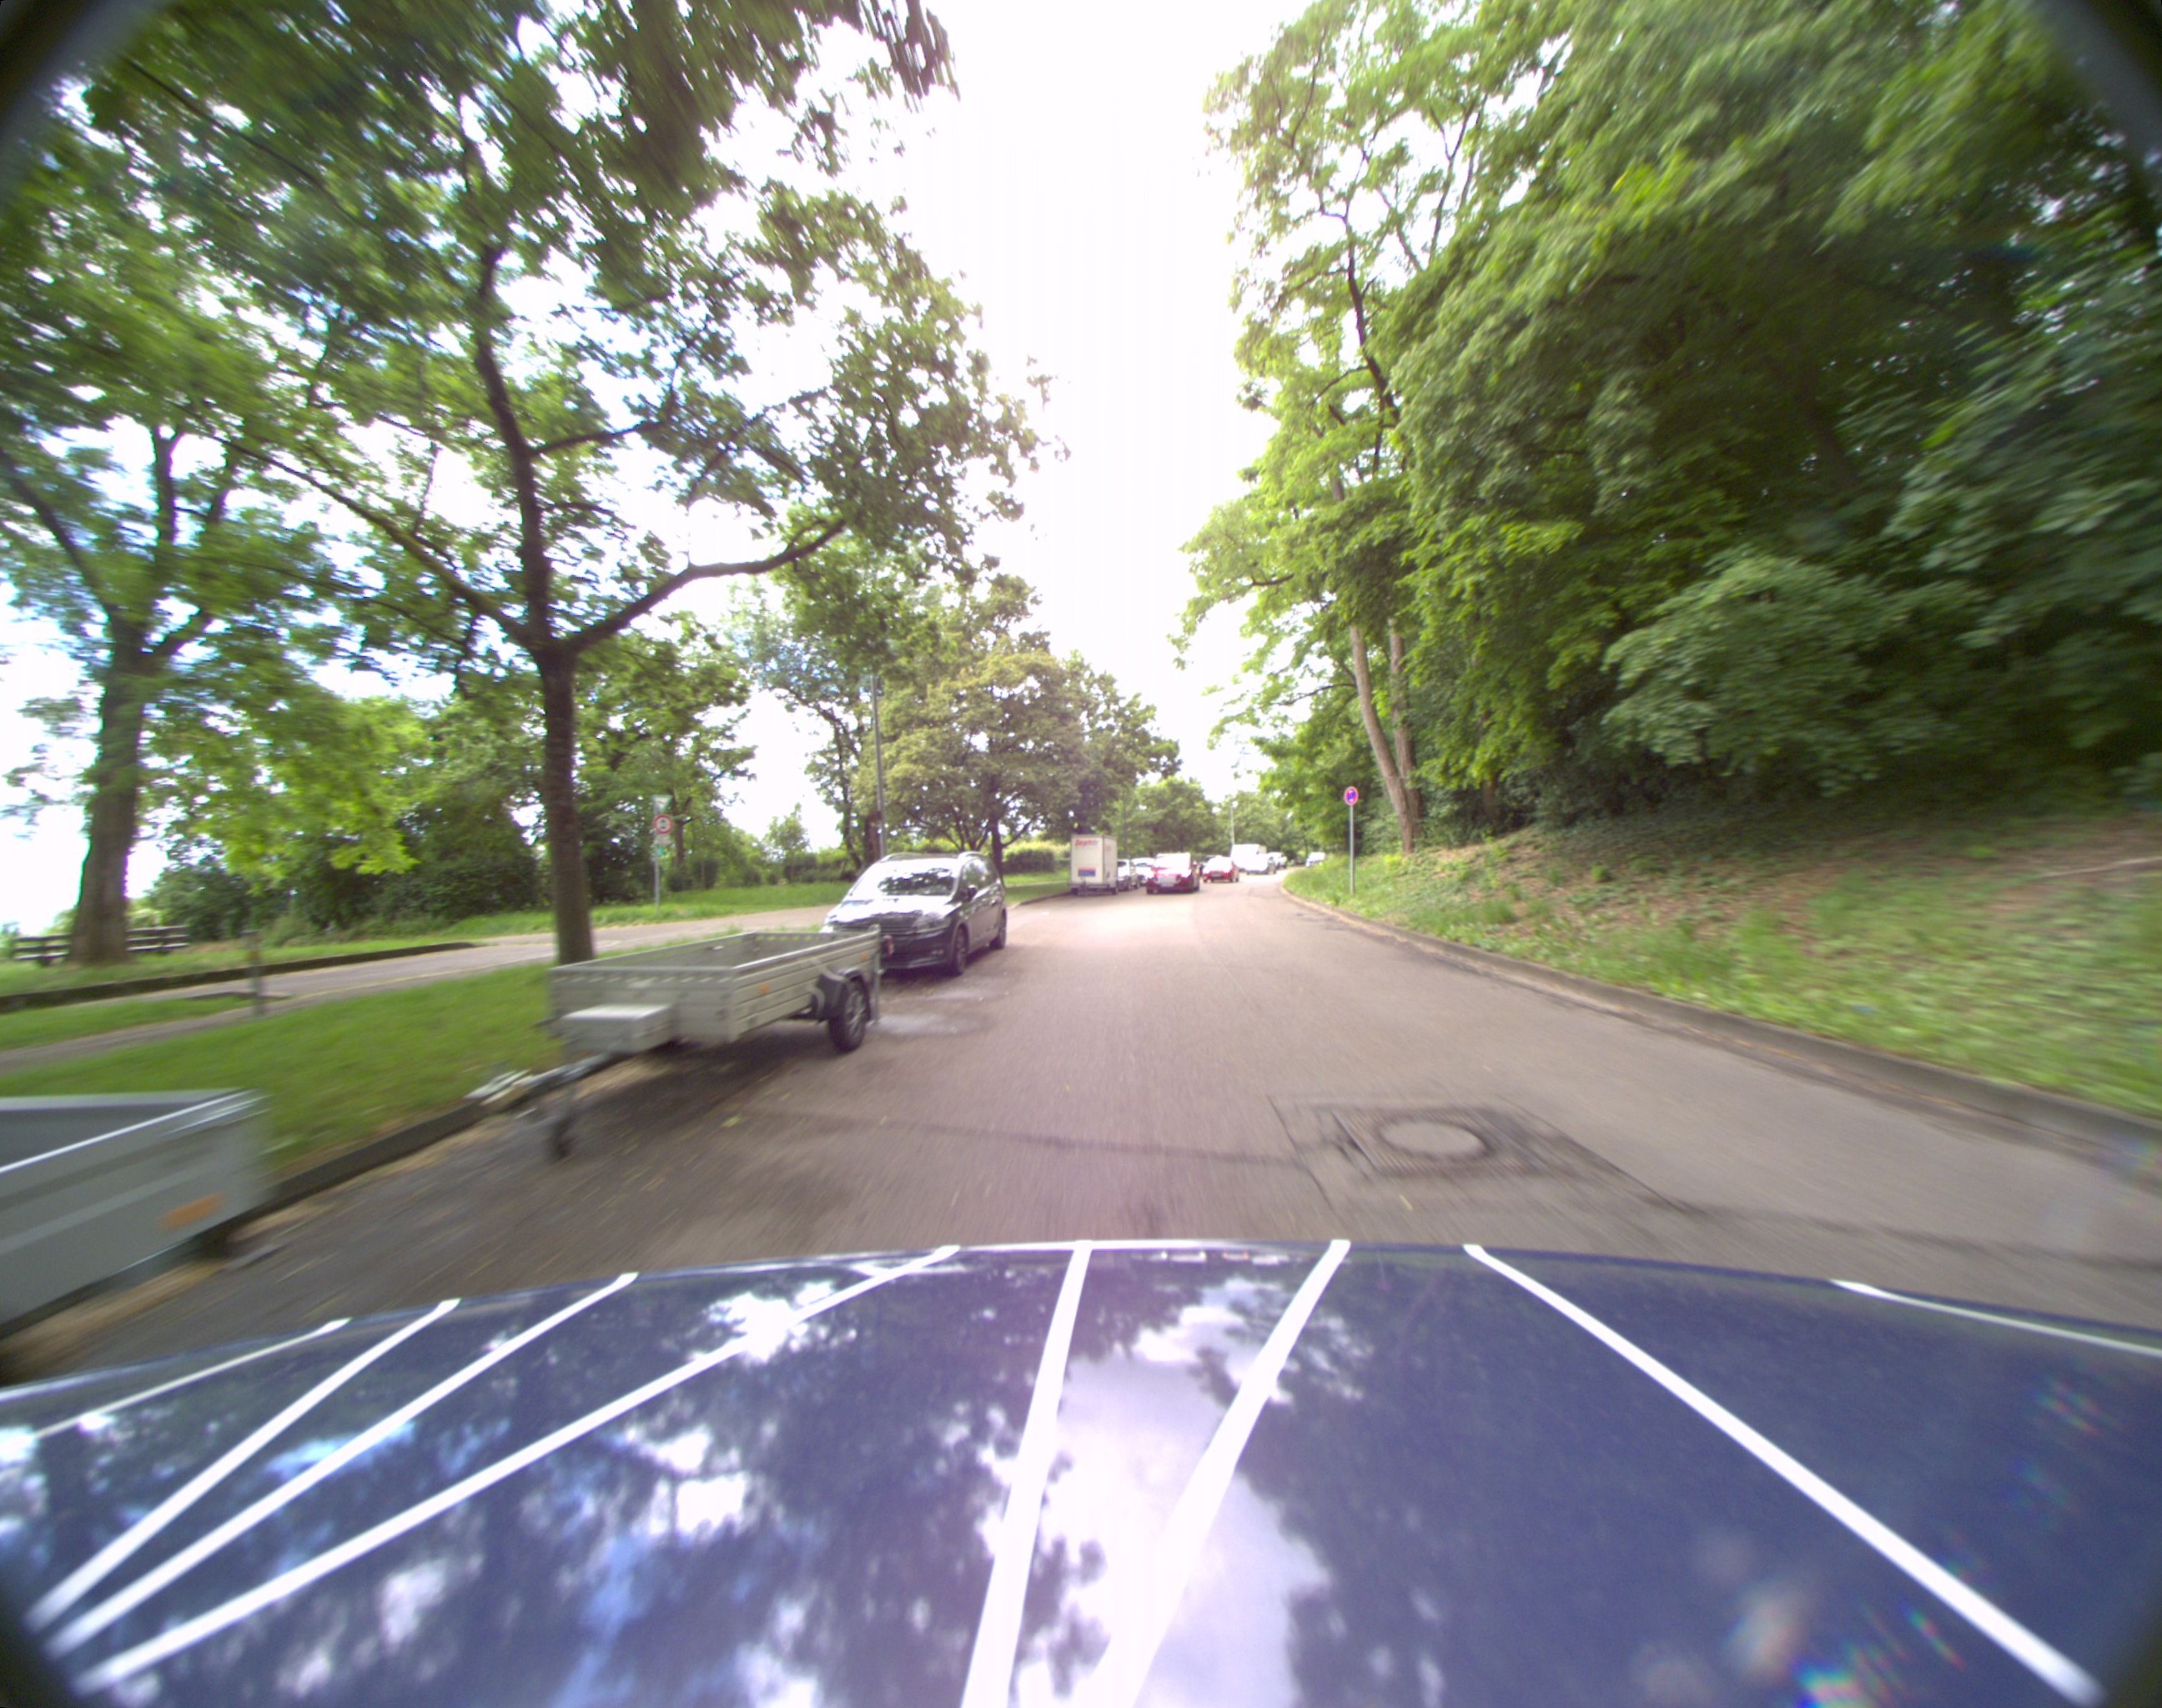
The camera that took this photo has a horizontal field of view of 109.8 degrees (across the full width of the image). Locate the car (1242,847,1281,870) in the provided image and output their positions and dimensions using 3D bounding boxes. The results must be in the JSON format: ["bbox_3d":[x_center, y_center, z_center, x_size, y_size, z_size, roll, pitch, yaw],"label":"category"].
[{"bbox_3d":[15.087,0.334,63.275,1.919,1.672,4.007,0,2,32],"label":"car"}]

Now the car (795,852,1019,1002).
[{"bbox_3d":[-2.287,0.877,11.483,1.779,1.653,4.842,-3,0,5],"label":"car"}]

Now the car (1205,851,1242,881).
[{"bbox_3d":[8.469,0.646,44.910,1.865,1.441,4.178,0,4,14],"label":"car"}]

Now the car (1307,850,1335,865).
[{"bbox_3d":[24.974,0.311,78.925,1.800,1.481,4.008,-1,0,32],"label":"car"}]

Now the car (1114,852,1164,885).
[{"bbox_3d":[3.256,0.754,41.875,1.905,1.468,4.062,-3,2,15],"label":"car"}]

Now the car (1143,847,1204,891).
[{"bbox_3d":[3.923,0.572,31.548,1.997,1.619,4.630,-3,0,13],"label":"car"}]

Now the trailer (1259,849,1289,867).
[{"bbox_3d":[20.014,0.409,78.579,1.773,1.721,4.658,0,2,30],"label":"trailer"}]

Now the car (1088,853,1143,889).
[{"bbox_3d":[1.683,0.762,35.842,1.744,1.516,4.640,-1,1,13],"label":"car"}]

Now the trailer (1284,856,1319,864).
[{"bbox_3d":[24.873,0.694,85.533,2.105,0.647,6.413,-3,0,33],"label":"trailer"}]

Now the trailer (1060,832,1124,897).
[{"bbox_3d":[0.523,0.383,30.508,1.763,2.413,3.890,-1,0,13],"label":"trailer"}]

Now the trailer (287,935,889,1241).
[{"bbox_3d":[-2.769,1.288,5.402,1.360,0.963,3.895,-3,0,7],"label":"trailer"}]

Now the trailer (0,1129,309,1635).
[{"bbox_3d":[-3.033,1.308,0.608,1.367,0.843,3.278,-4,1,2],"label":"trailer"}]

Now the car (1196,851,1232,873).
[{"bbox_3d":[10.811,0.599,61.442,1.850,1.633,4.538,-1,0,23],"label":"car"}]

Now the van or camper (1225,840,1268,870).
[{"bbox_3d":[15.394,0.025,70.501,2.163,2.521,6.042,-3,0,28],"label":"van or camper"}]
